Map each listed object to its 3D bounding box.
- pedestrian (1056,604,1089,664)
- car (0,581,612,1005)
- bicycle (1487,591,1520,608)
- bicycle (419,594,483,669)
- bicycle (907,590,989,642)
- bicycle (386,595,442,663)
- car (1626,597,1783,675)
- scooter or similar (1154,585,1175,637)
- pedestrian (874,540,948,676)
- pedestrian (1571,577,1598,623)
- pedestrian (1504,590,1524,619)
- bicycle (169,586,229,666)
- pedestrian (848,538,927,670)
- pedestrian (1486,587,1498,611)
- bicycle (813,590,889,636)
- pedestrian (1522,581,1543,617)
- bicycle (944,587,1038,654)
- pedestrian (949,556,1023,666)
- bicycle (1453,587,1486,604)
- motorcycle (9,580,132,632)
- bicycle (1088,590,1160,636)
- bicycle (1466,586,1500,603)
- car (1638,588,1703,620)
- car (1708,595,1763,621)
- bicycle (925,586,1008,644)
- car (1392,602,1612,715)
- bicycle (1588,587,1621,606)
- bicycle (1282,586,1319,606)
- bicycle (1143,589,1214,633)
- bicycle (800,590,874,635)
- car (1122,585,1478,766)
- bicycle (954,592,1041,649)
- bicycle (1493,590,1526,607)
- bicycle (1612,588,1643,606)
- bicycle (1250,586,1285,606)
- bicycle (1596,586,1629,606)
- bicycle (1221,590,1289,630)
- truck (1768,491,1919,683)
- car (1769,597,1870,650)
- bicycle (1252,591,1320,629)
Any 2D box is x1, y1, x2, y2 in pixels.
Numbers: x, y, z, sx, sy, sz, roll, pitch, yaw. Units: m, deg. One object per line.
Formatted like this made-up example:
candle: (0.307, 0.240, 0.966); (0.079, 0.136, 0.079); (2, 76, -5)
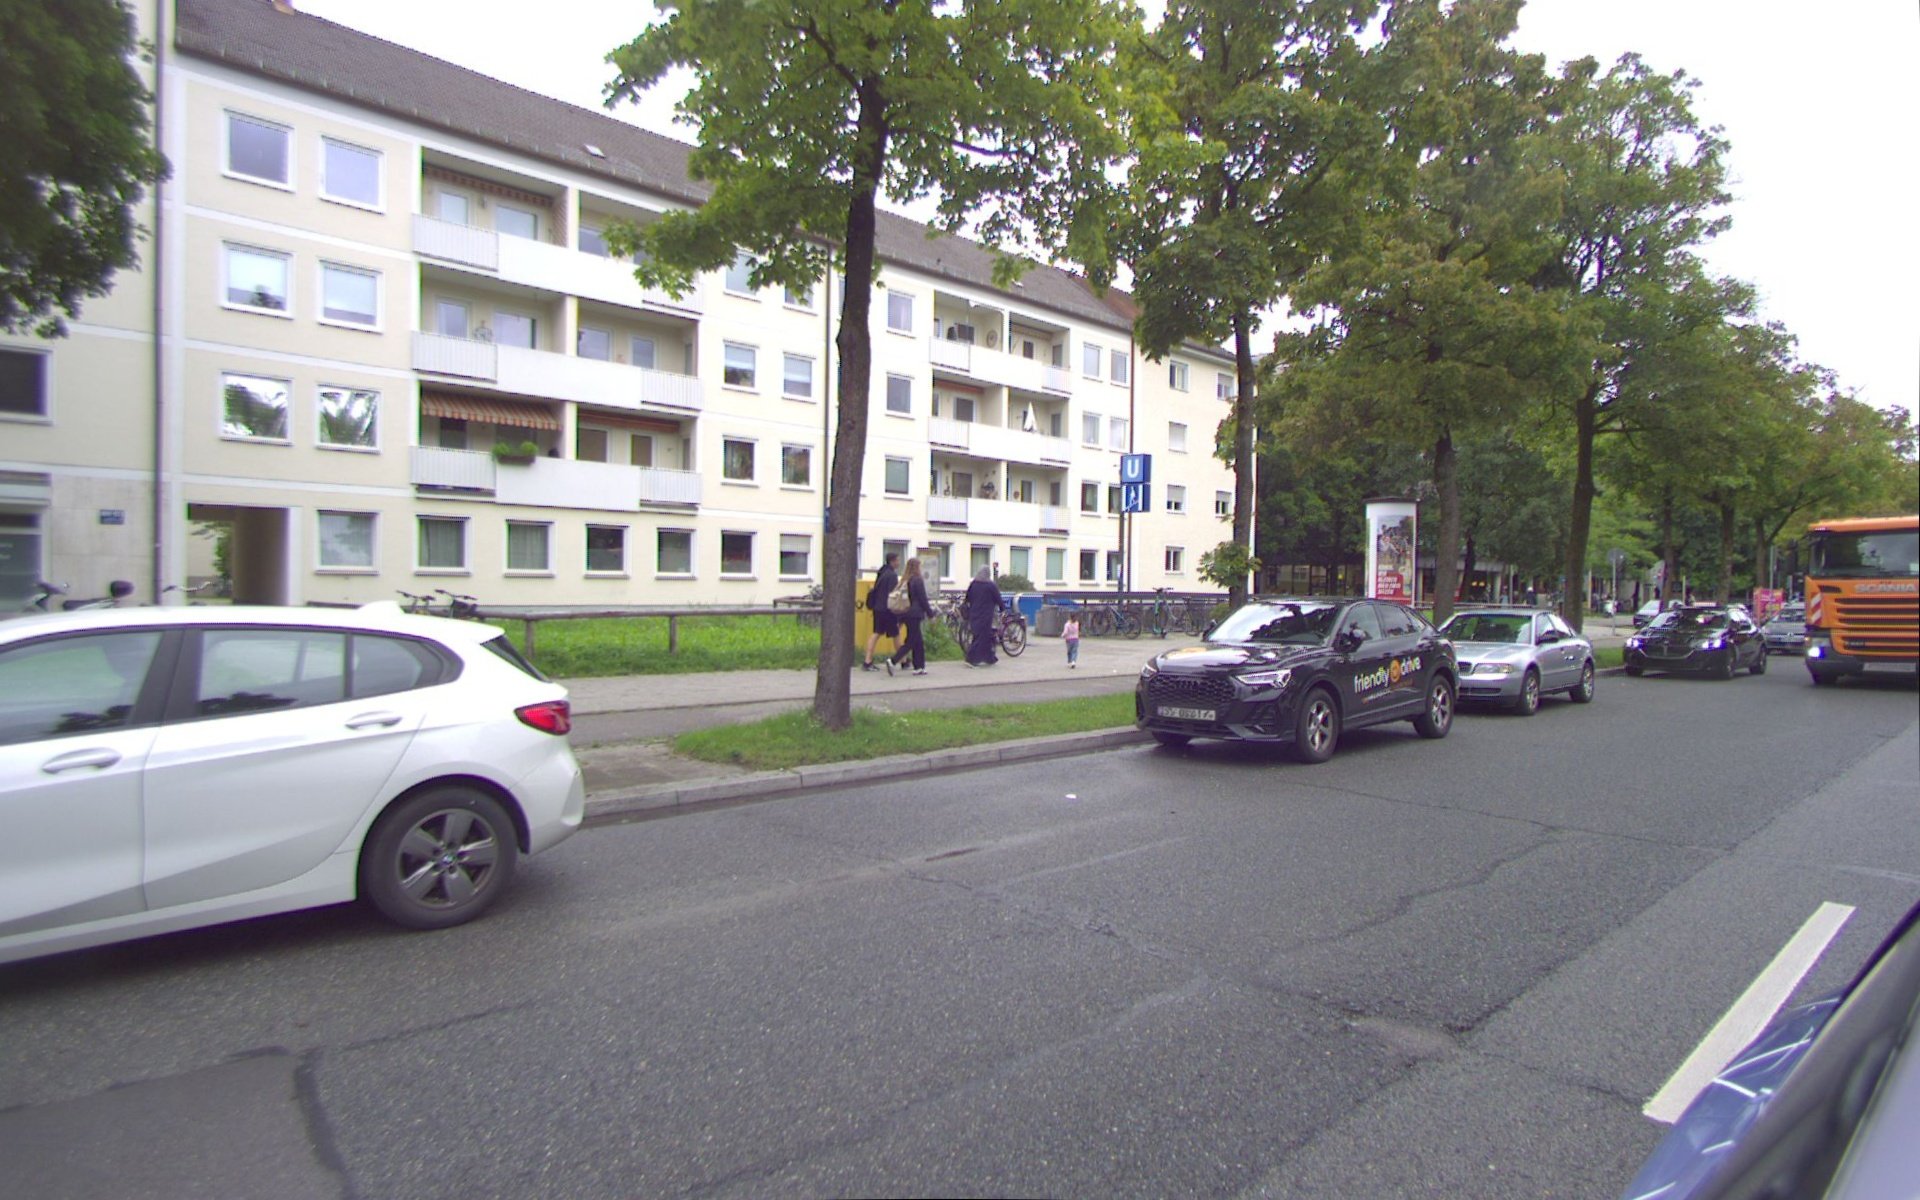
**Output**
pedestrian: (1.861, 0.564, 16.797); (0.400, 0.961, 0.436); (1, 1, -13)
car: (-3.799, 0.693, 4.313); (4.066, 1.484, 1.684); (0, -1, -42)
bicycle: (38.664, -0.045, 72.000); (0.447, 1.134, 2.079); (1, 1, -40)
bicycle: (-7.190, 0.418, 14.262); (0.425, 0.986, 1.881); (0, 0, -39)
bicycle: (-0.237, 0.335, 21.257); (1.850, 1.041, 0.432); (1, 1, -41)
bicycle: (-8.524, 0.426, 15.768); (0.425, 0.986, 1.881); (0, 0, -39)
car: (15.689, 0.694, 21.269); (4.102, 1.484, 1.754); (0, 0, -40)
scooter or similar: (5.032, 0.255, 24.978); (0.352, 1.215, 1.388); (1, 2, 6)
pedestrian: (-0.713, 0.099, 14.717); (0.886, 1.913, 0.589); (0, 1, -42)
pedestrian: (24.318, 0.001, 39.419); (0.835, 1.771, 0.640); (1, 2, -43)
pedestrian: (30.144, 0.229, 55.055); (0.568, 1.594, 0.783); (0, 0, -15)
bicycle: (-9.669, 0.302, 12.841); (0.548, 0.951, 1.881); (0, 0, -39)
pedestrian: (-1.098, 0.043, 15.302); (0.903, 1.913, 0.730); (0, 2, -42)
pedestrian: (35.459, -0.064, 67.429); (0.625, 1.561, 0.655); (3, 3, 26)
bicycle: (-2.561, 0.304, 23.882); (1.850, 1.041, 0.432); (1, 1, -41)
pedestrian: (28.199, -0.058, 49.842); (0.628, 1.752, 0.602); (0, 0, -15)
bicycle: (0.570, 0.359, 18.195); (1.850, 1.147, 0.432); (1, 1, -41)
pedestrian: (0.414, 0.155, 16.362); (0.820, 1.702, 0.840); (0, 1, -42)
bicycle: (36.142, -0.344, 71.798); (0.447, 1.134, 2.079); (1, 1, -40)
motorcycle: (-18.290, 0.108, 20.862); (1.873, 1.036, 0.605); (0, 0, -41)
bicycle: (4.009, 0.299, 24.867); (0.425, 1.041, 1.879); (0, 2, -43)
bicycle: (36.342, -0.408, 70.344); (0.447, 1.134, 2.079); (1, 1, -40)
car: (39.055, 0.220, 55.618); (4.122, 1.654, 1.826); (0, 2, -39)
car: (49.561, 0.516, 64.655); (4.519, 1.550, 1.826); (0, 2, -40)
bicycle: (0.147, 0.296, 20.657); (1.850, 1.115, 0.432); (1, 1, -41)
car: (7.967, 0.735, 14.703); (4.174, 1.403, 1.637); (0, 0, -44)
bicycle: (55.944, -0.294, 87.823); (0.638, 1.551, 2.312); (1, 1, -40)
bicycle: (17.005, -0.199, 50.580); (0.448, 0.983, 1.693); (1, 1, -44)
bicycle: (5.705, 0.268, 26.532); (0.425, 1.041, 1.879); (0, 2, -43)
bicycle: (-3.000, 0.296, 24.732); (1.850, 1.041, 0.432); (1, 1, -41)
car: (3.736, 0.655, 10.739); (4.201, 1.552, 1.719); (0, 0, -41)
bicycle: (0.745, 0.379, 19.546); (1.850, 1.041, 0.432); (1, 1, -41)
bicycle: (40.095, -0.119, 73.900); (0.447, 1.134, 2.079); (1, 1, -40)
bicycle: (60.890, -0.278, 92.318); (2.298, 1.643, 0.642); (2, 1, 33)
bicycle: (15.748, -0.219, 51.846); (0.448, 0.983, 1.693); (1, 1, -44)
bicycle: (57.430, -0.353, 89.053); (0.638, 1.643, 2.312); (1, 1, -40)
bicycle: (8.403, 0.276, 28.900); (0.425, 1.041, 1.879); (0, 2, -43)
truck: (19.220, -0.216, 20.329); (8.972, 3.229, 3.045); (0, 0, -40)
car: (25.920, 0.671, 30.477); (4.042, 1.484, 1.685); (0, 0, -40)
bicycle: (9.546, 0.275, 29.715); (1.876, 1.041, 0.426); (3, 2, 42)
